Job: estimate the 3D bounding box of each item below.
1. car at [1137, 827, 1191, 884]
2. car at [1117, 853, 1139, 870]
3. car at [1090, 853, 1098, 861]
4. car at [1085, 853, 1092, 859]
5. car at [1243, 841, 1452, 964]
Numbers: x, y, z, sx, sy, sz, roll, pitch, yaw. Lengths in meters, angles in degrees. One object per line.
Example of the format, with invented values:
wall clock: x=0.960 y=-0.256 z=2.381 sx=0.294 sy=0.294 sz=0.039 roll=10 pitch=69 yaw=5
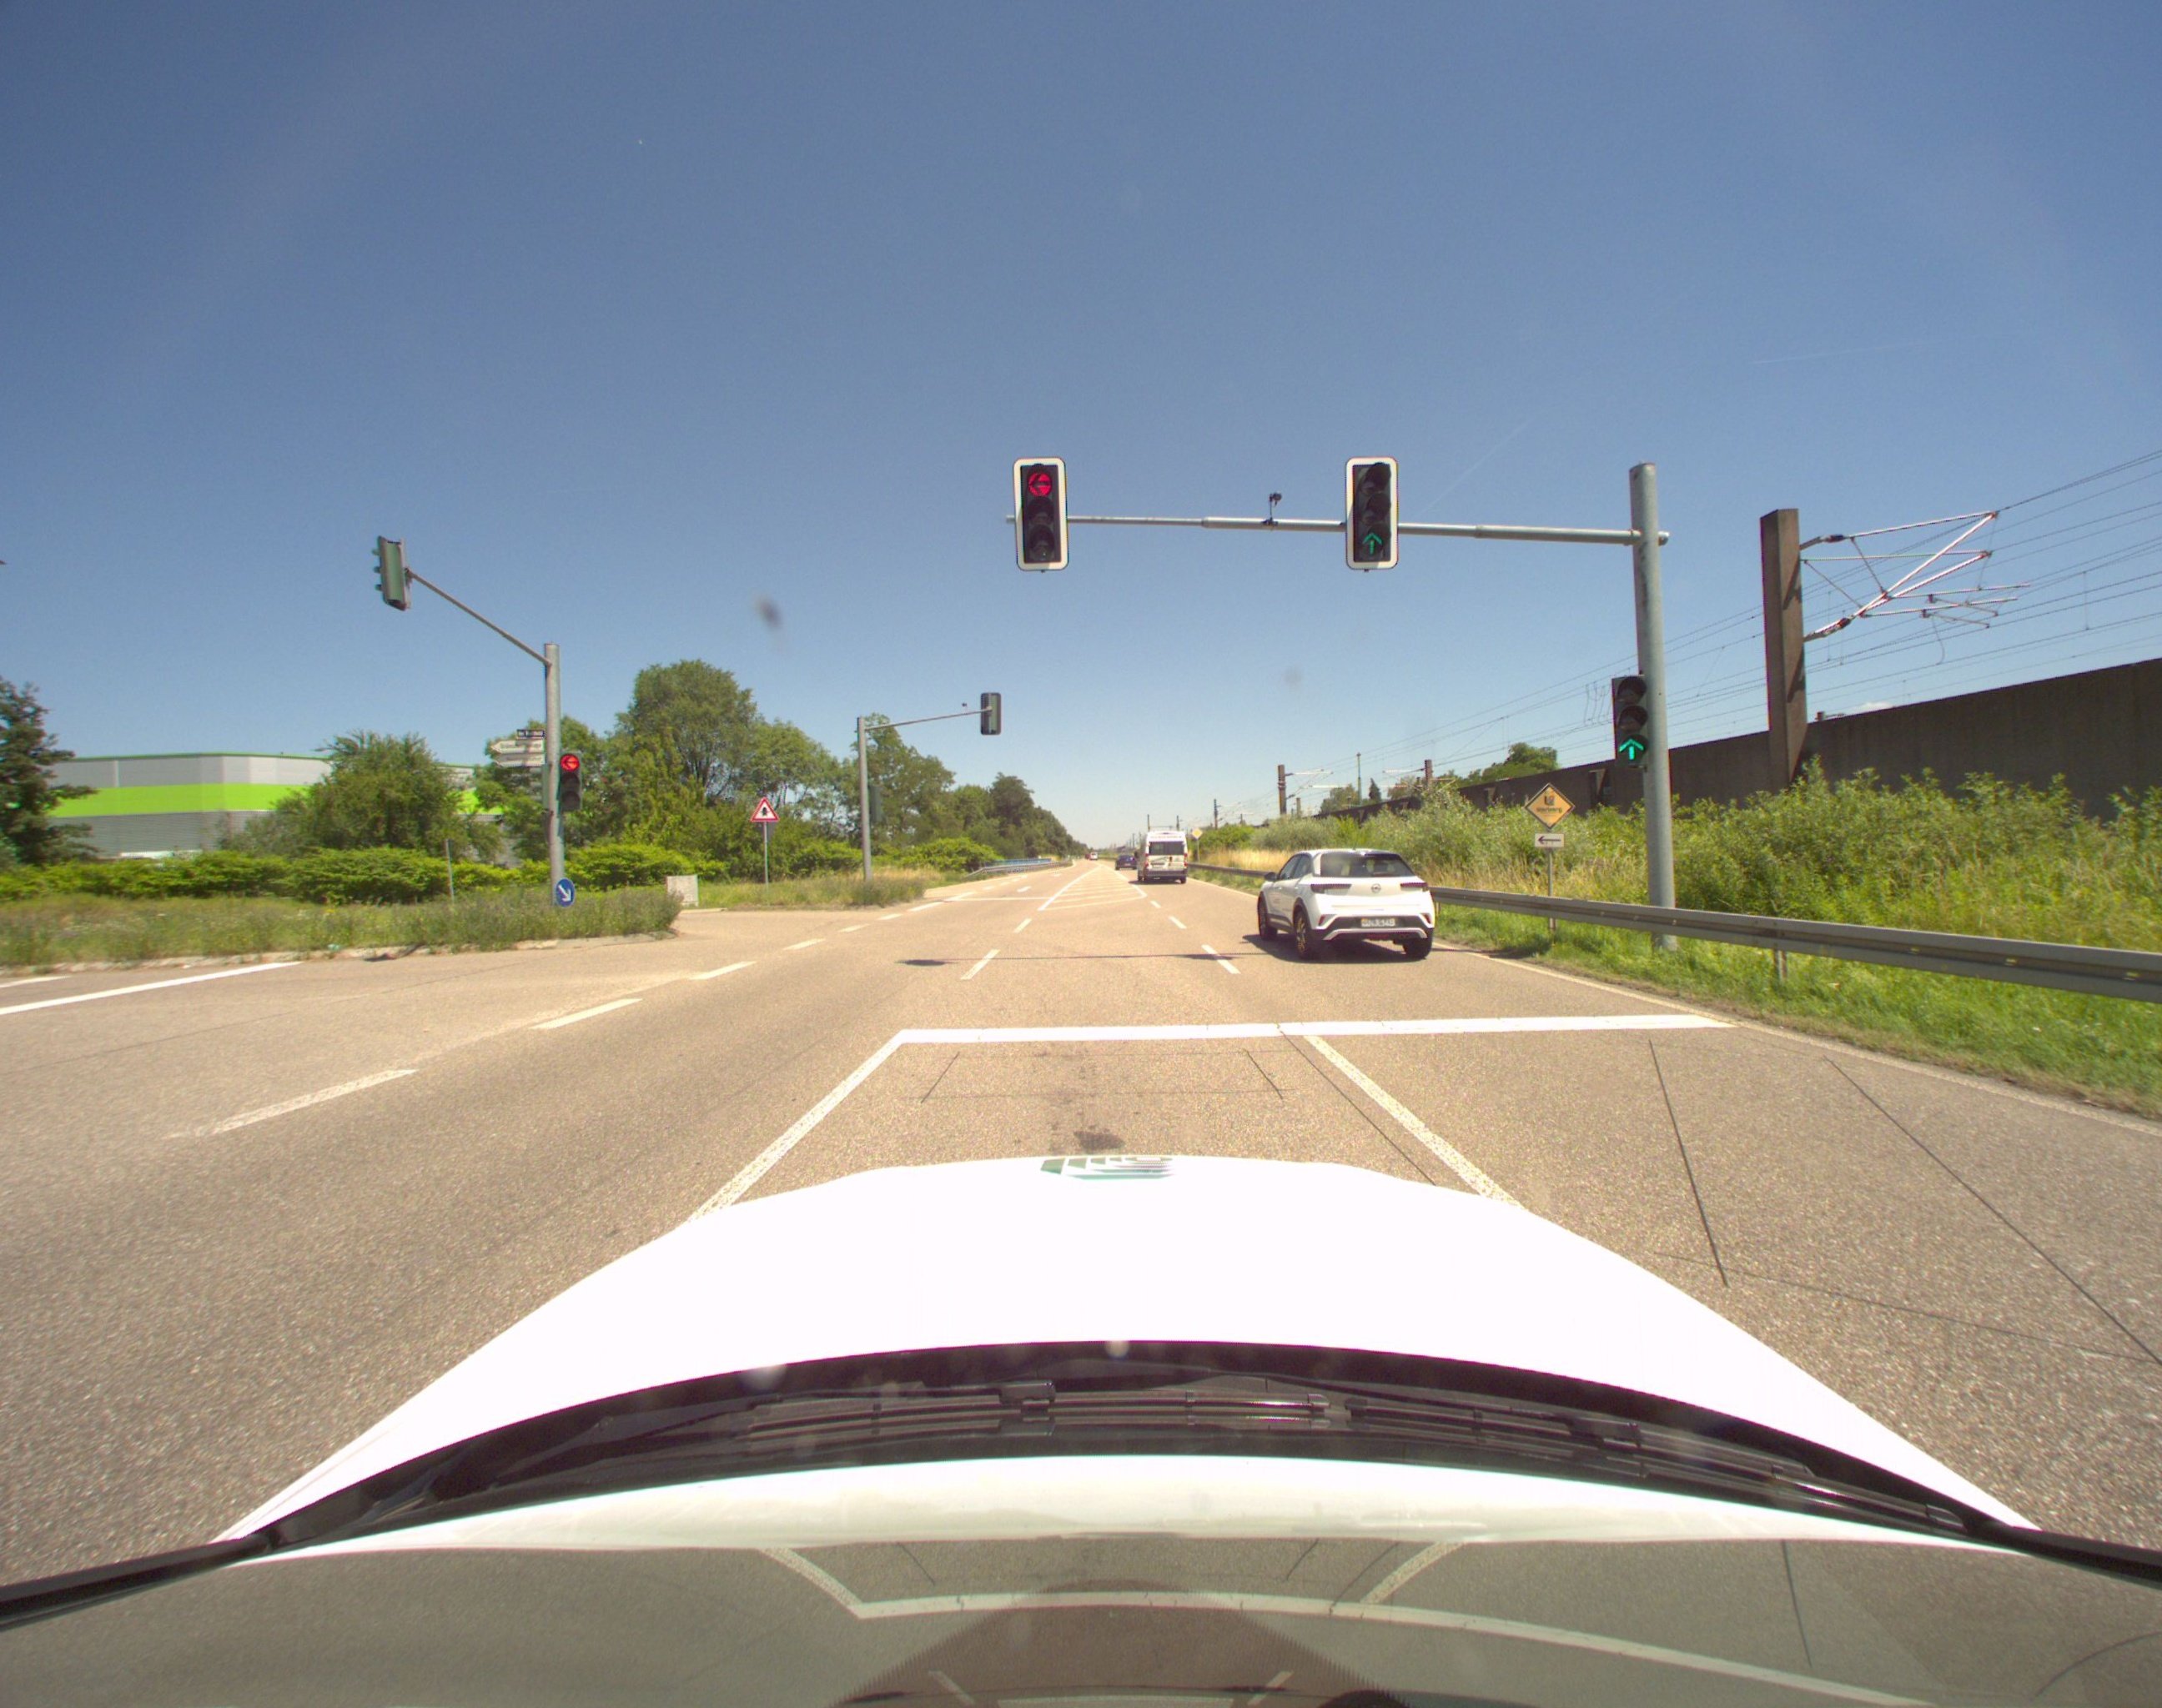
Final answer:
car: x=4.082 y=0.059 z=41.238 sx=2.180 sy=2.604 sz=6.752 roll=-1 pitch=0 yaw=1
car: x=4.185 y=0.657 z=73.358 sx=1.850 sy=1.379 sz=4.504 roll=-1 pitch=0 yaw=1
car: x=3.311 y=0.709 z=203.120 sx=1.987 sy=1.983 sz=4.059 roll=-1 pitch=0 yaw=0
car: x=2.276 y=0.608 z=255.994 sx=2.013 sy=1.726 sz=4.541 roll=-1 pitch=0 yaw=0
car: x=3.895 y=0.632 z=12.741 sx=1.812 sy=1.564 sz=4.277 roll=-1 pitch=0 yaw=-1
